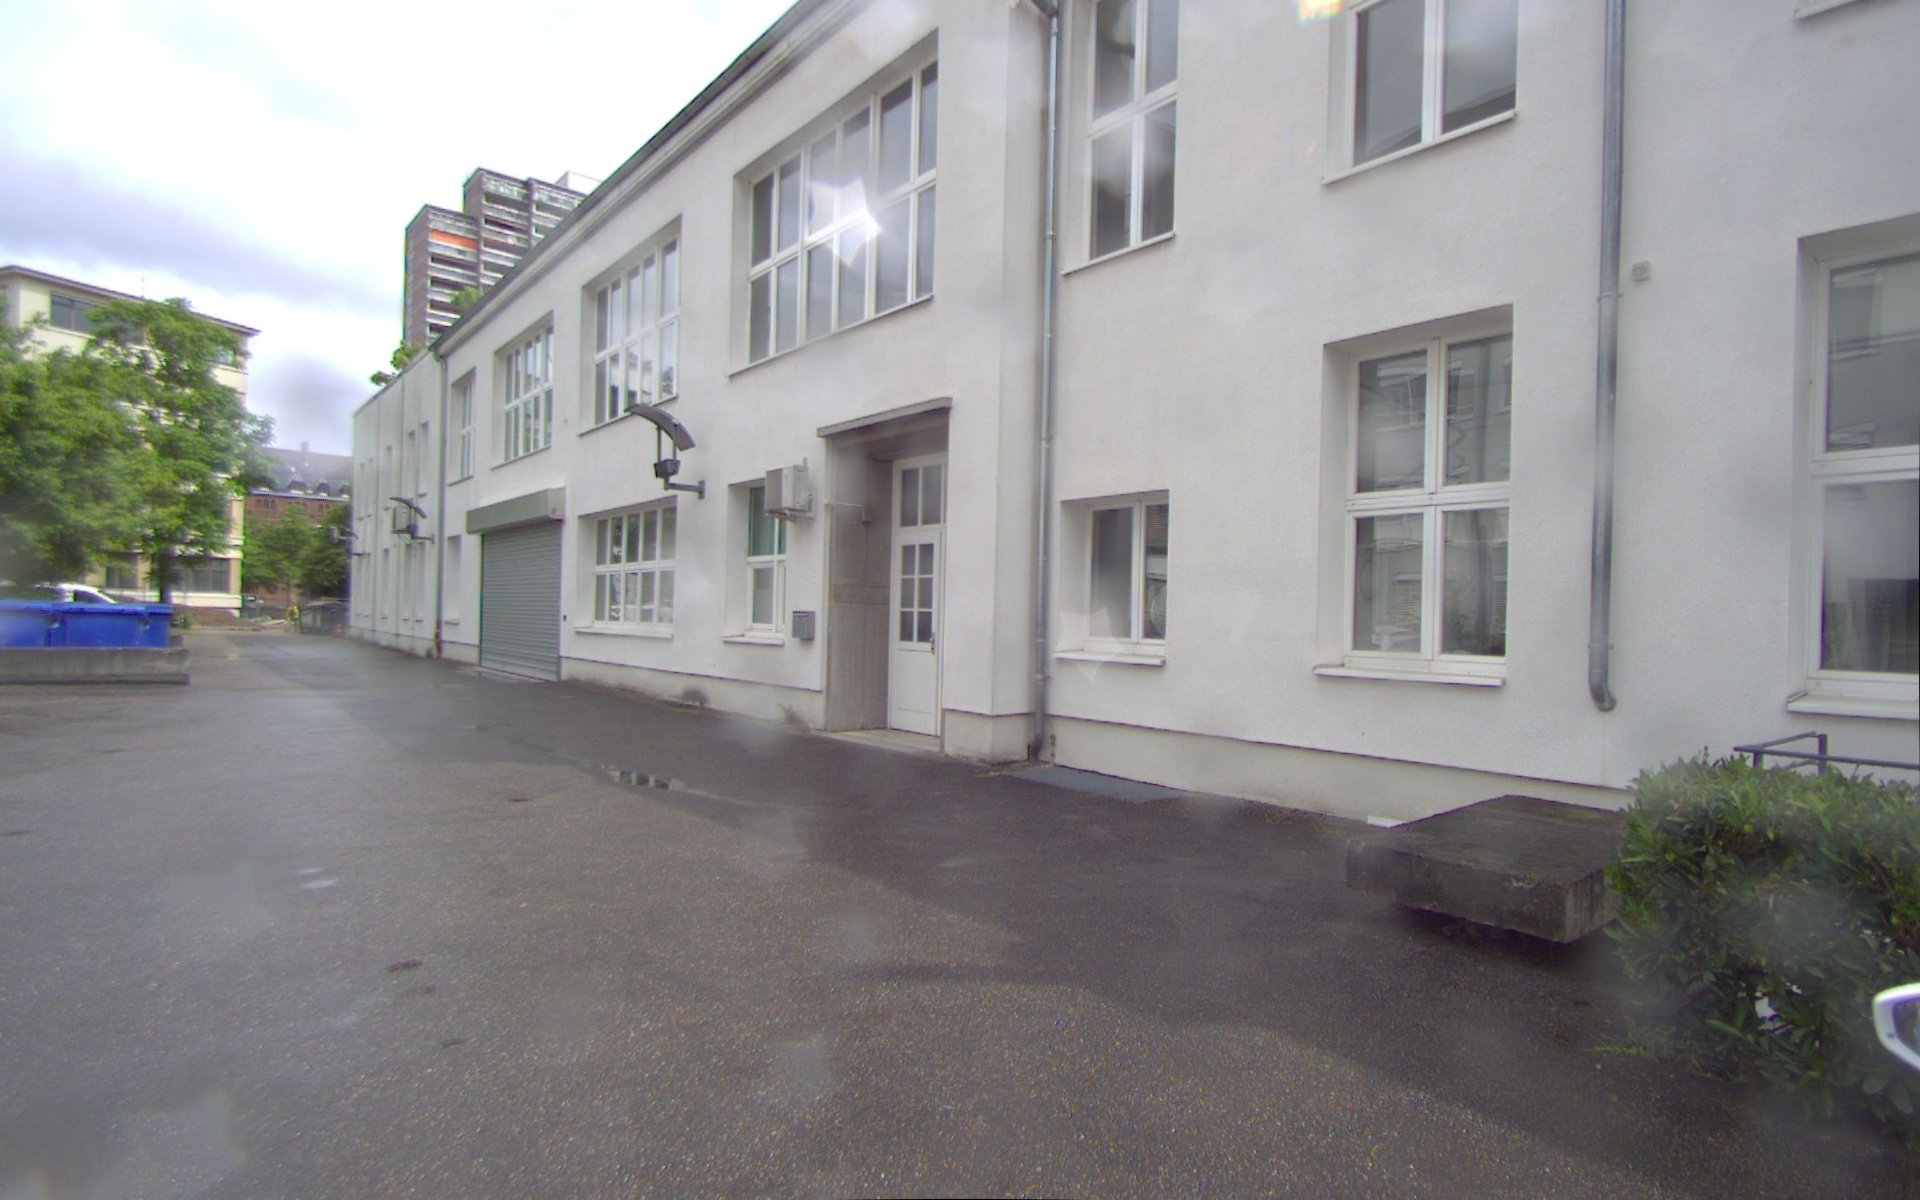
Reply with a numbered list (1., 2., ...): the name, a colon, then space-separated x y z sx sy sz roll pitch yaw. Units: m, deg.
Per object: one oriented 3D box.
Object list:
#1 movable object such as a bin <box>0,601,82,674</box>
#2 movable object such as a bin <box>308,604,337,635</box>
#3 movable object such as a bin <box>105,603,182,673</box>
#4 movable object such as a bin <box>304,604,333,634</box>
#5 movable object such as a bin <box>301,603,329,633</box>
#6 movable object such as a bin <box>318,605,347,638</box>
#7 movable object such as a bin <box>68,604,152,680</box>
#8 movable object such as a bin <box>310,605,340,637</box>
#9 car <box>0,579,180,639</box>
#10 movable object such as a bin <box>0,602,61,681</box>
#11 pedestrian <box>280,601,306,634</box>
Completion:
1. movable object such as a bin: -17.835 0.712 19.451 1.121 1.346 1.196 1 0 -36
2. movable object such as a bin: -29.009 0.893 45.693 1.053 1.374 1.206 1 0 -36
3. movable object such as a bin: -16.665 0.762 20.535 1.121 1.346 1.196 1 0 -36
4. movable object such as a bin: -29.975 0.873 46.922 1.056 1.374 1.252 1 0 -36
5. movable object such as a bin: -30.819 0.856 47.986 1.056 1.374 1.252 1 0 -36
6. movable object such as a bin: -27.084 0.934 43.342 0.969 1.374 0.910 1 0 -36
7. movable object such as a bin: -15.937 0.765 18.874 1.085 1.343 1.196 1 0 -36
8. movable object such as a bin: -28.197 0.910 44.599 1.036 1.374 1.195 1 0 -36
9. car: -27.228 0.303 31.440 4.291 1.750 1.706 2 0 -35
10. movable object such as a bin: -16.972 0.729 18.010 1.121 1.346 1.196 1 0 -36
11. pedestrian: -38.163 0.981 57.475 0.846 1.838 0.861 1 0 19
